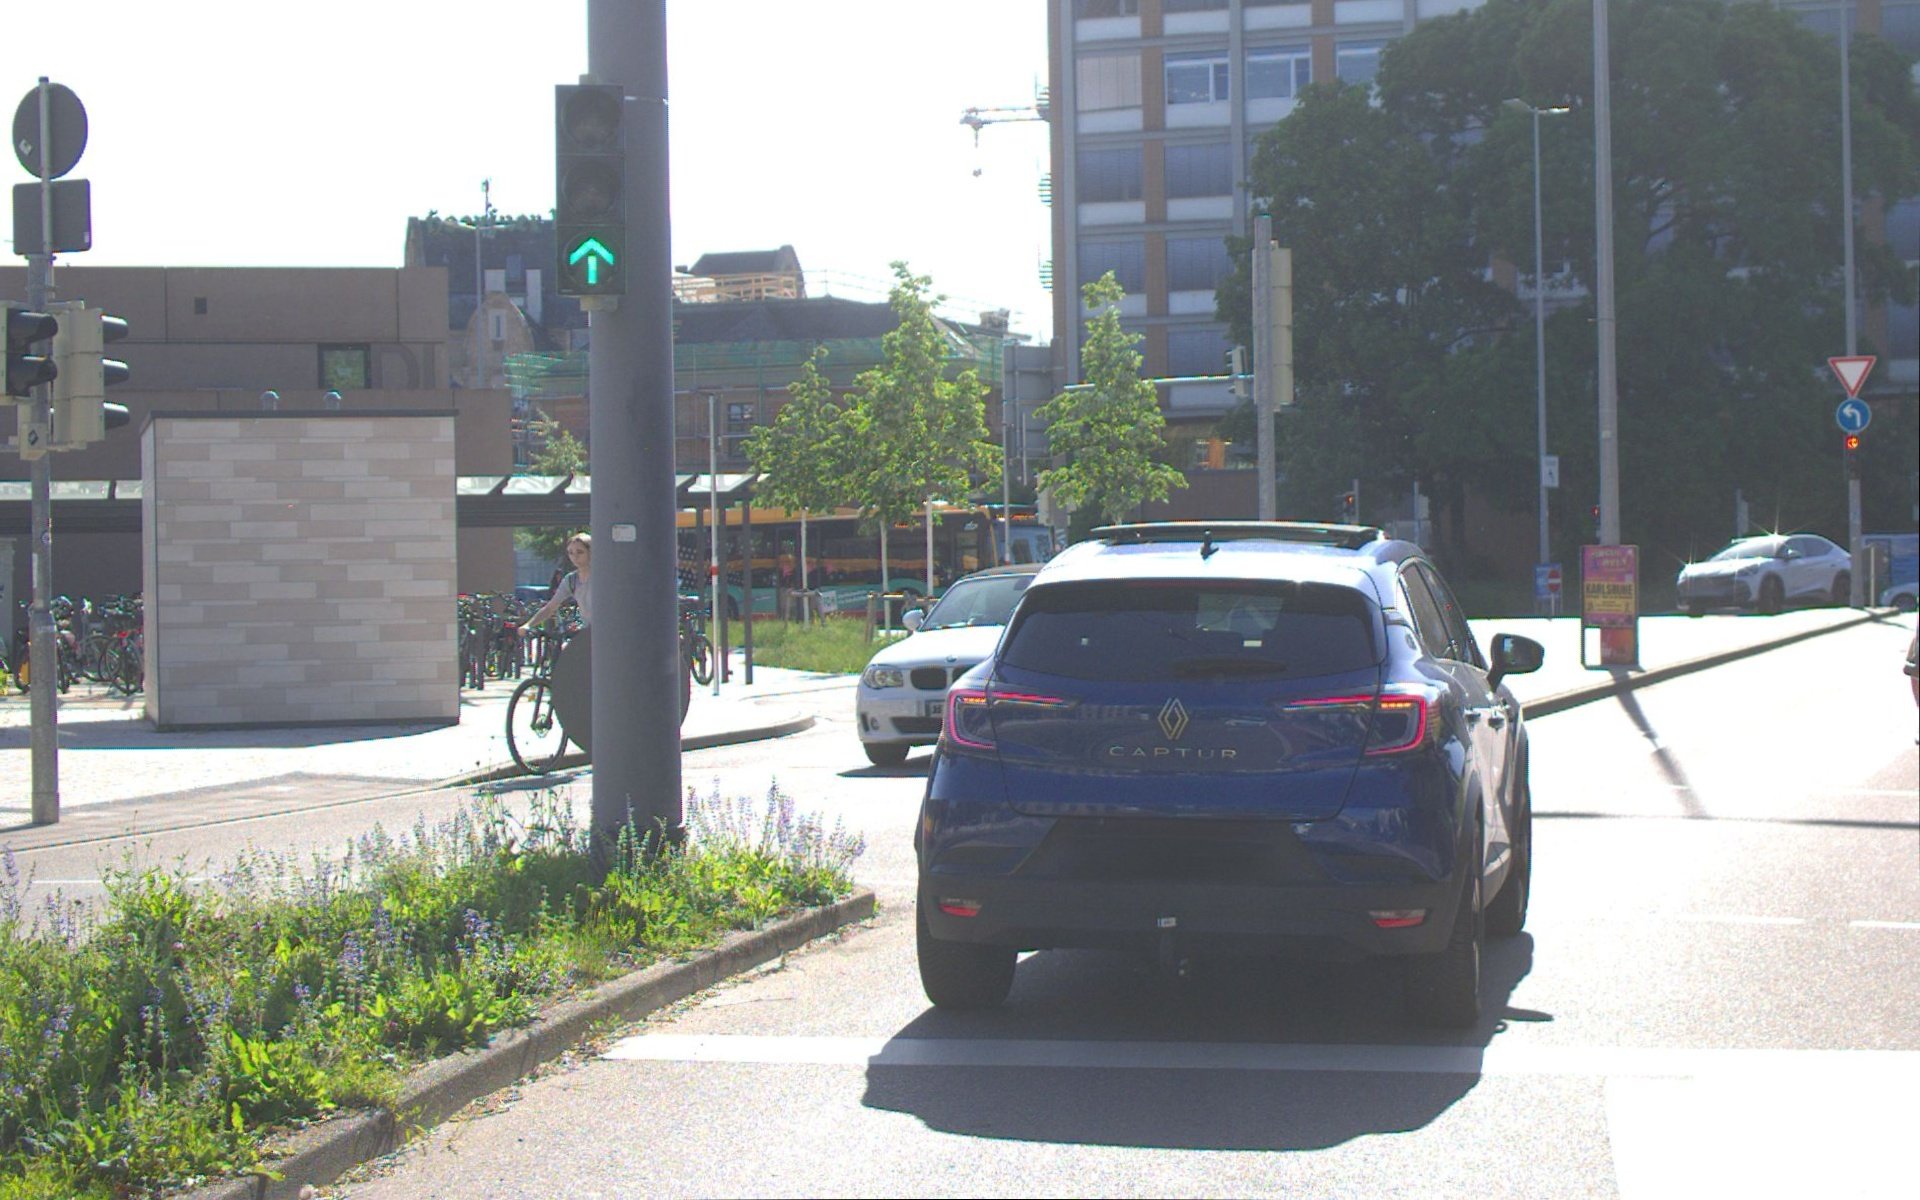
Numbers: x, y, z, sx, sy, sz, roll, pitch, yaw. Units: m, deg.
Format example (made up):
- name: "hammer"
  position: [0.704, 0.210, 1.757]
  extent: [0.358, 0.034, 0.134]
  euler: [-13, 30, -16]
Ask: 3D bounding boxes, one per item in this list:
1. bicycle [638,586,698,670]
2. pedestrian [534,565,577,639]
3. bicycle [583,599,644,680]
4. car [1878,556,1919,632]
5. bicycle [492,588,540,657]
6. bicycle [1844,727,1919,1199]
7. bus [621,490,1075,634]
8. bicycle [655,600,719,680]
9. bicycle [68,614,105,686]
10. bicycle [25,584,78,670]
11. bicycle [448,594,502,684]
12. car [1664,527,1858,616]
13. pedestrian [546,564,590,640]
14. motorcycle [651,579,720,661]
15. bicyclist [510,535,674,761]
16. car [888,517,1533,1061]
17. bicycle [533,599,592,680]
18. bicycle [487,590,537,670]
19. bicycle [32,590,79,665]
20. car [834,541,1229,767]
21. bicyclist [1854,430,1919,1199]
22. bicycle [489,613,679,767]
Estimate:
- name: "bicycle"
  position: [-3.765, 0.365, 44.258]
  extent: [0.580, 1.048, 1.973]
  euler: [0, -1, -10]
- name: "pedestrian"
  position: [-9.555, 0.053, 81.184]
  extent: [0.655, 1.735, 0.786]
  euler: [0, -1, 36]
- name: "bicycle"
  position: [-4.239, 0.479, 41.969]
  extent: [0.580, 0.958, 2.059]
  euler: [0, -1, -10]
- name: "car"
  position: [25.425, -0.147, 85.397]
  extent: [4.659, 1.894, 1.996]
  euler: [0, -1, 33]
- name: "bicycle"
  position: [-7.104, 0.369, 54.964]
  extent: [0.580, 1.084, 1.872]
  euler: [0, -1, -12]
- name: "bicycle"
  position: [2.518, 0.882, 8.154]
  extent: [0.663, 1.043, 1.889]
  euler: [-1, 1, 19]
- name: "bus"
  position: [-2.977, -0.860, 85.662]
  extent: [12.433, 3.384, 2.876]
  euler: [0, -1, 39]
- name: "bicycle"
  position: [-3.360, 0.484, 42.228]
  extent: [0.580, 0.958, 2.059]
  euler: [0, -1, -10]
- name: "bicycle"
  position: [-11.770, 0.667, 46.333]
  extent: [0.421, 0.934, 1.306]
  euler: [1, 0, -16]
- name: "bicycle"
  position: [-11.786, 0.352, 44.611]
  extent: [0.565, 1.090, 2.030]
  euler: [0, -1, -12]
- name: "bicycle"
  position: [-5.859, 0.468, 41.475]
  extent: [0.580, 1.054, 1.817]
  euler: [0, -1, -10]
- name: "car"
  position: [15.733, -0.566, 67.406]
  extent: [1.822, 1.563, 4.240]
  euler: [-2, 1, 42]
- name: "pedestrian"
  position: [-9.064, 0.047, 79.536]
  extent: [0.626, 1.735, 0.786]
  euler: [0, -1, 36]
- name: "motorcycle"
  position: [-4.002, 0.298, 50.000]
  extent: [0.551, 1.173, 1.922]
  euler: [0, -1, -19]
- name: "bicyclist"
  position: [-2.735, 0.350, 25.633]
  extent: [0.880, 1.639, 1.060]
  euler: [-1, 0, 13]
- name: "car"
  position: [1.034, 0.536, 12.122]
  extent: [1.824, 1.594, 3.657]
  euler: [1, 1, 11]
- name: "bicycle"
  position: [-4.850, 0.475, 41.870]
  extent: [0.580, 0.958, 2.059]
  euler: [0, -1, -10]
- name: "bicycle"
  position: [-6.198, 0.416, 47.505]
  extent: [0.580, 1.084, 2.059]
  euler: [0, -1, -10]
- name: "bicycle"
  position: [-13.379, 0.411, 50.891]
  extent: [0.565, 1.090, 2.030]
  euler: [0, -1, -12]
- name: "car"
  position: [0.637, 0.352, 25.978]
  extent: [1.801, 1.388, 4.090]
  euler: [-1, 3, 19]
- name: "bicyclist"
  position: [2.516, 0.470, 8.159]
  extent: [0.664, 1.741, 1.005]
  euler: [-1, 1, 19]
- name: "bicycle"
  position: [-2.792, 0.652, 25.751]
  extent: [0.773, 1.077, 2.034]
  euler: [-1, 0, 13]
